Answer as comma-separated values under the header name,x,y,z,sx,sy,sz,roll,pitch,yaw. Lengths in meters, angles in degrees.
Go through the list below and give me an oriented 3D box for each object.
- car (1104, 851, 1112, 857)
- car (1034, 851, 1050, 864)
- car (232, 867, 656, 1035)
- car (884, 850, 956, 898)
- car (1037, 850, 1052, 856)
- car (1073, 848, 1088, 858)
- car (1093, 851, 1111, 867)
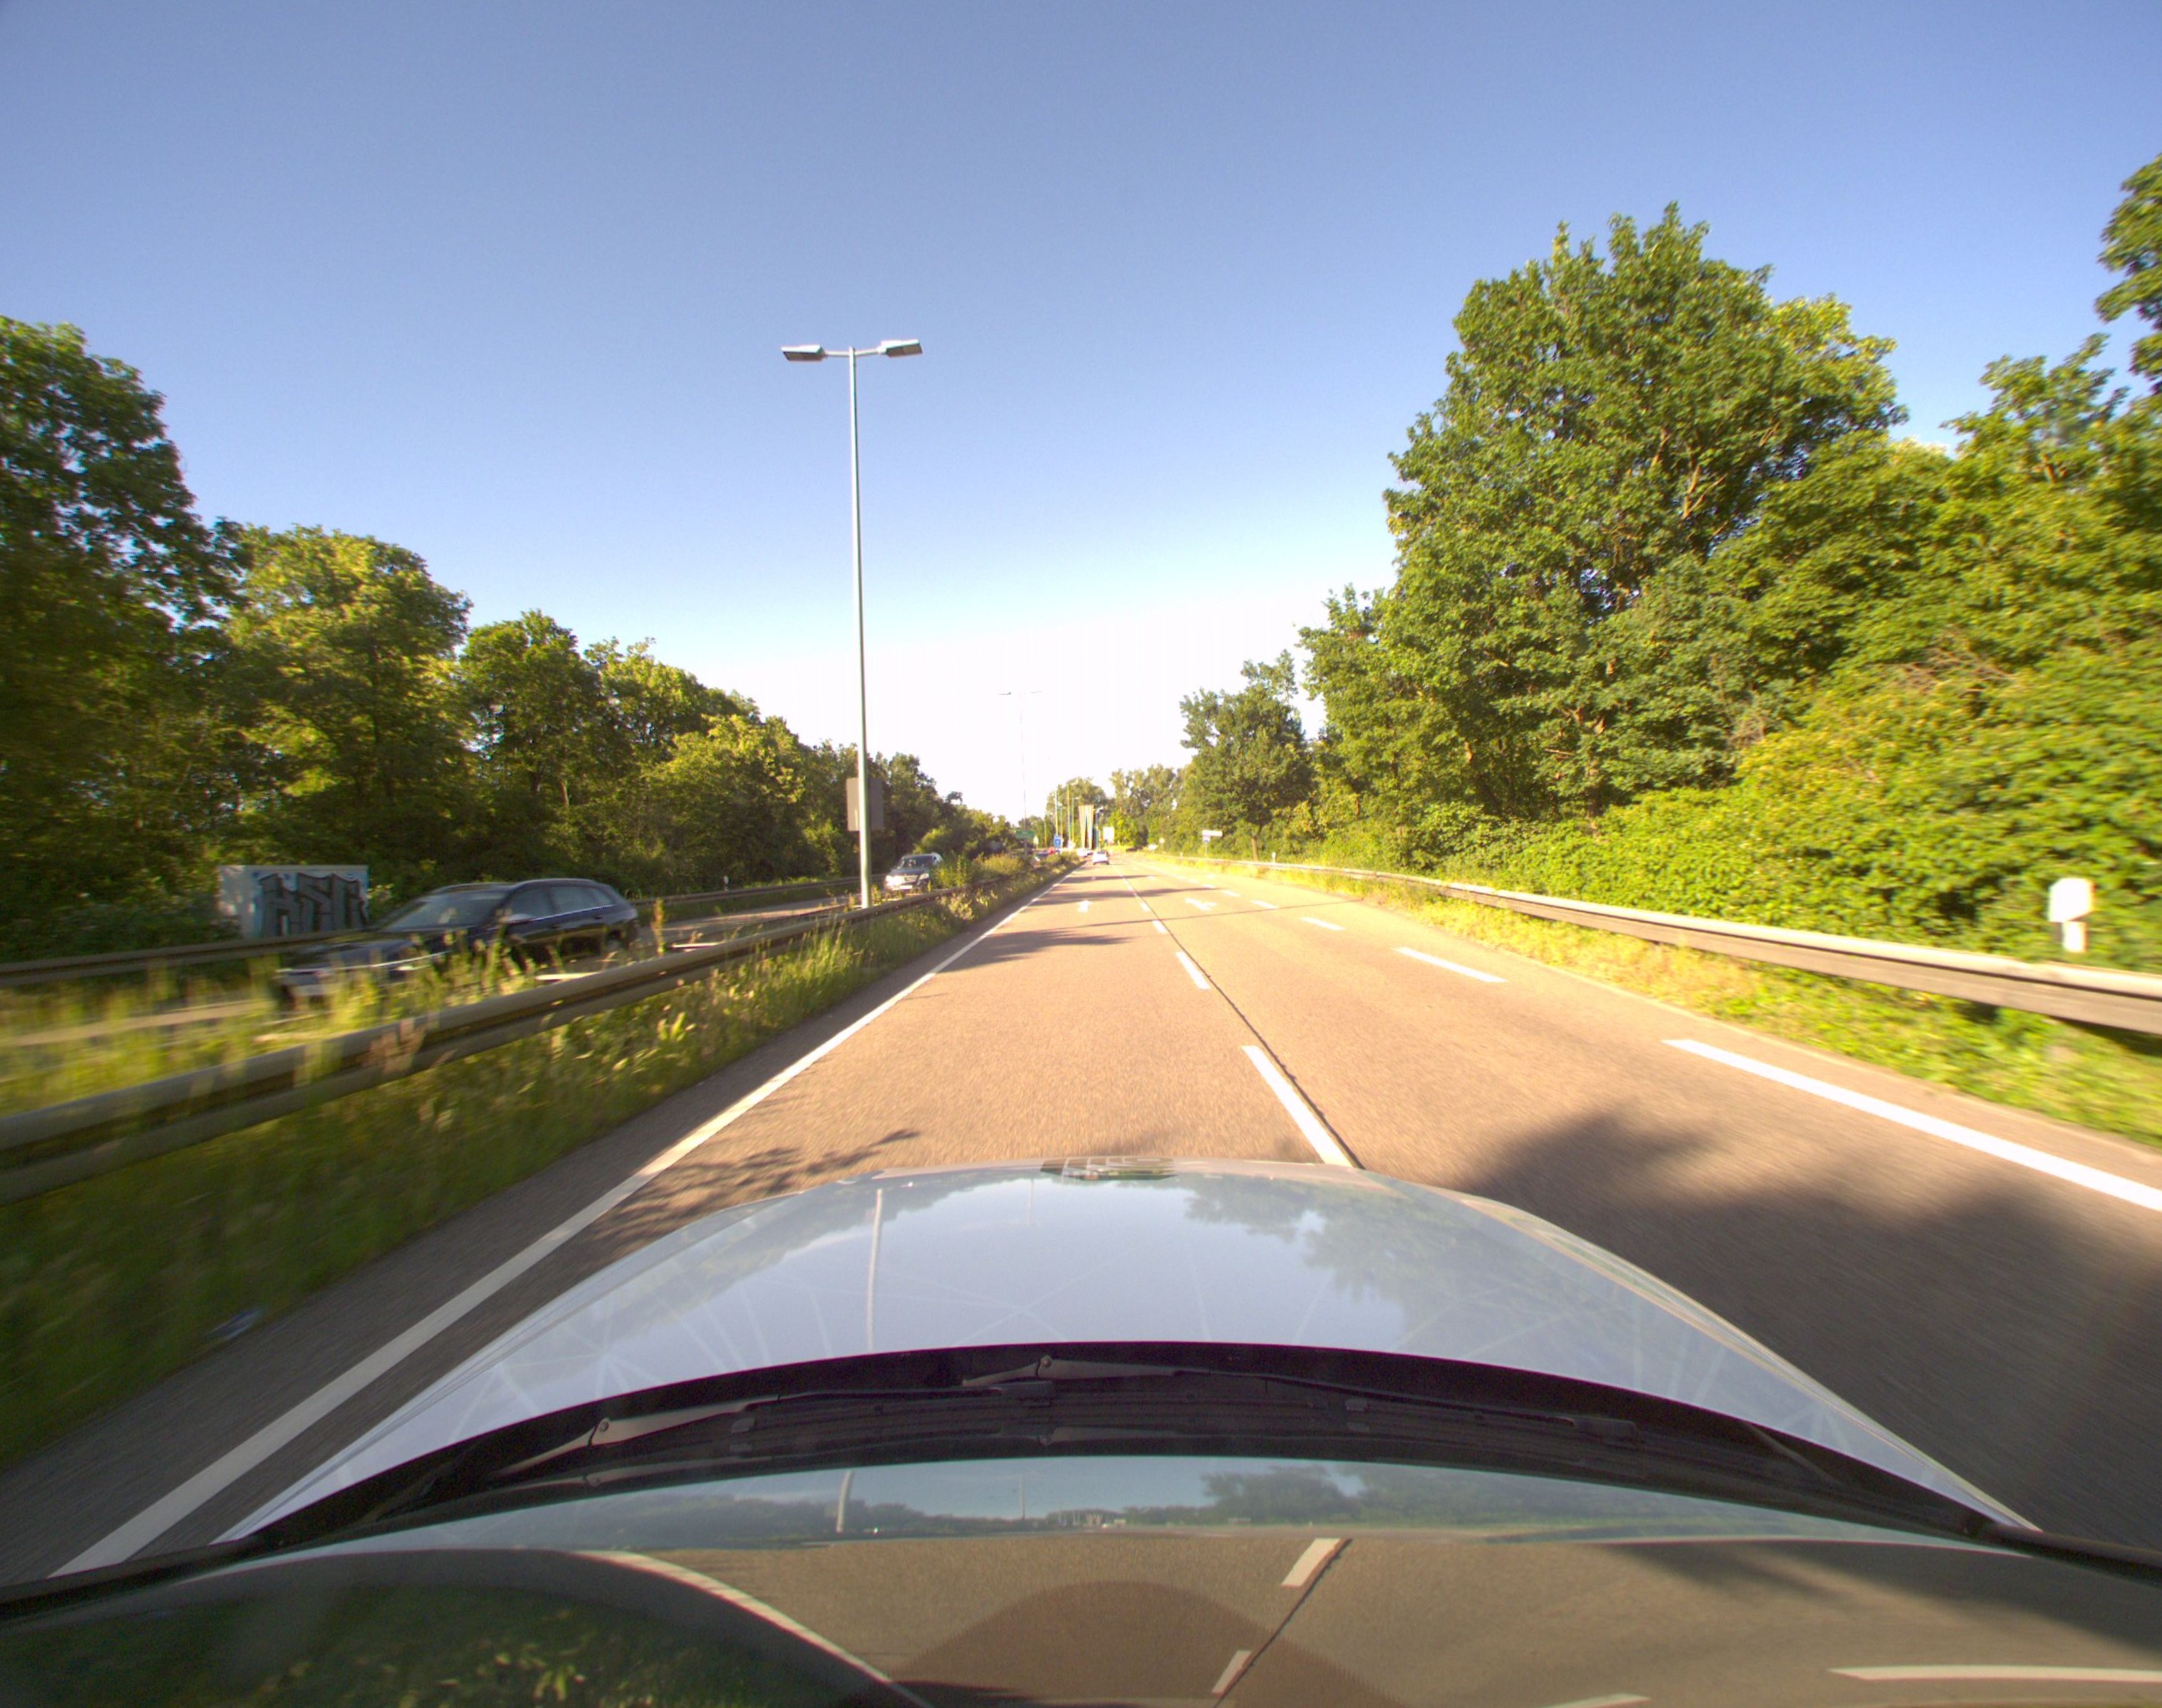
name,x,y,z,sx,sy,sz,roll,pitch,yaw
car,5.397,-0.003,162.957,1.383,1.280,2.988,1,-1,1
car,-5.389,0.450,112.145,1.779,1.710,4.548,-2,0,1
car,-7.638,1.019,10.523,1.611,1.530,4.612,-2,0,3
car,-6.591,0.772,33.846,1.835,1.757,4.713,-2,0,1
car,-8.903,-0.240,197.409,2.277,1.508,3.968,-2,0,-24
car,-0.076,-0.240,165.241,1.996,1.879,4.229,-3,1,-14
car,2.493,0.576,96.859,1.986,1.640,4.129,-2,1,1
